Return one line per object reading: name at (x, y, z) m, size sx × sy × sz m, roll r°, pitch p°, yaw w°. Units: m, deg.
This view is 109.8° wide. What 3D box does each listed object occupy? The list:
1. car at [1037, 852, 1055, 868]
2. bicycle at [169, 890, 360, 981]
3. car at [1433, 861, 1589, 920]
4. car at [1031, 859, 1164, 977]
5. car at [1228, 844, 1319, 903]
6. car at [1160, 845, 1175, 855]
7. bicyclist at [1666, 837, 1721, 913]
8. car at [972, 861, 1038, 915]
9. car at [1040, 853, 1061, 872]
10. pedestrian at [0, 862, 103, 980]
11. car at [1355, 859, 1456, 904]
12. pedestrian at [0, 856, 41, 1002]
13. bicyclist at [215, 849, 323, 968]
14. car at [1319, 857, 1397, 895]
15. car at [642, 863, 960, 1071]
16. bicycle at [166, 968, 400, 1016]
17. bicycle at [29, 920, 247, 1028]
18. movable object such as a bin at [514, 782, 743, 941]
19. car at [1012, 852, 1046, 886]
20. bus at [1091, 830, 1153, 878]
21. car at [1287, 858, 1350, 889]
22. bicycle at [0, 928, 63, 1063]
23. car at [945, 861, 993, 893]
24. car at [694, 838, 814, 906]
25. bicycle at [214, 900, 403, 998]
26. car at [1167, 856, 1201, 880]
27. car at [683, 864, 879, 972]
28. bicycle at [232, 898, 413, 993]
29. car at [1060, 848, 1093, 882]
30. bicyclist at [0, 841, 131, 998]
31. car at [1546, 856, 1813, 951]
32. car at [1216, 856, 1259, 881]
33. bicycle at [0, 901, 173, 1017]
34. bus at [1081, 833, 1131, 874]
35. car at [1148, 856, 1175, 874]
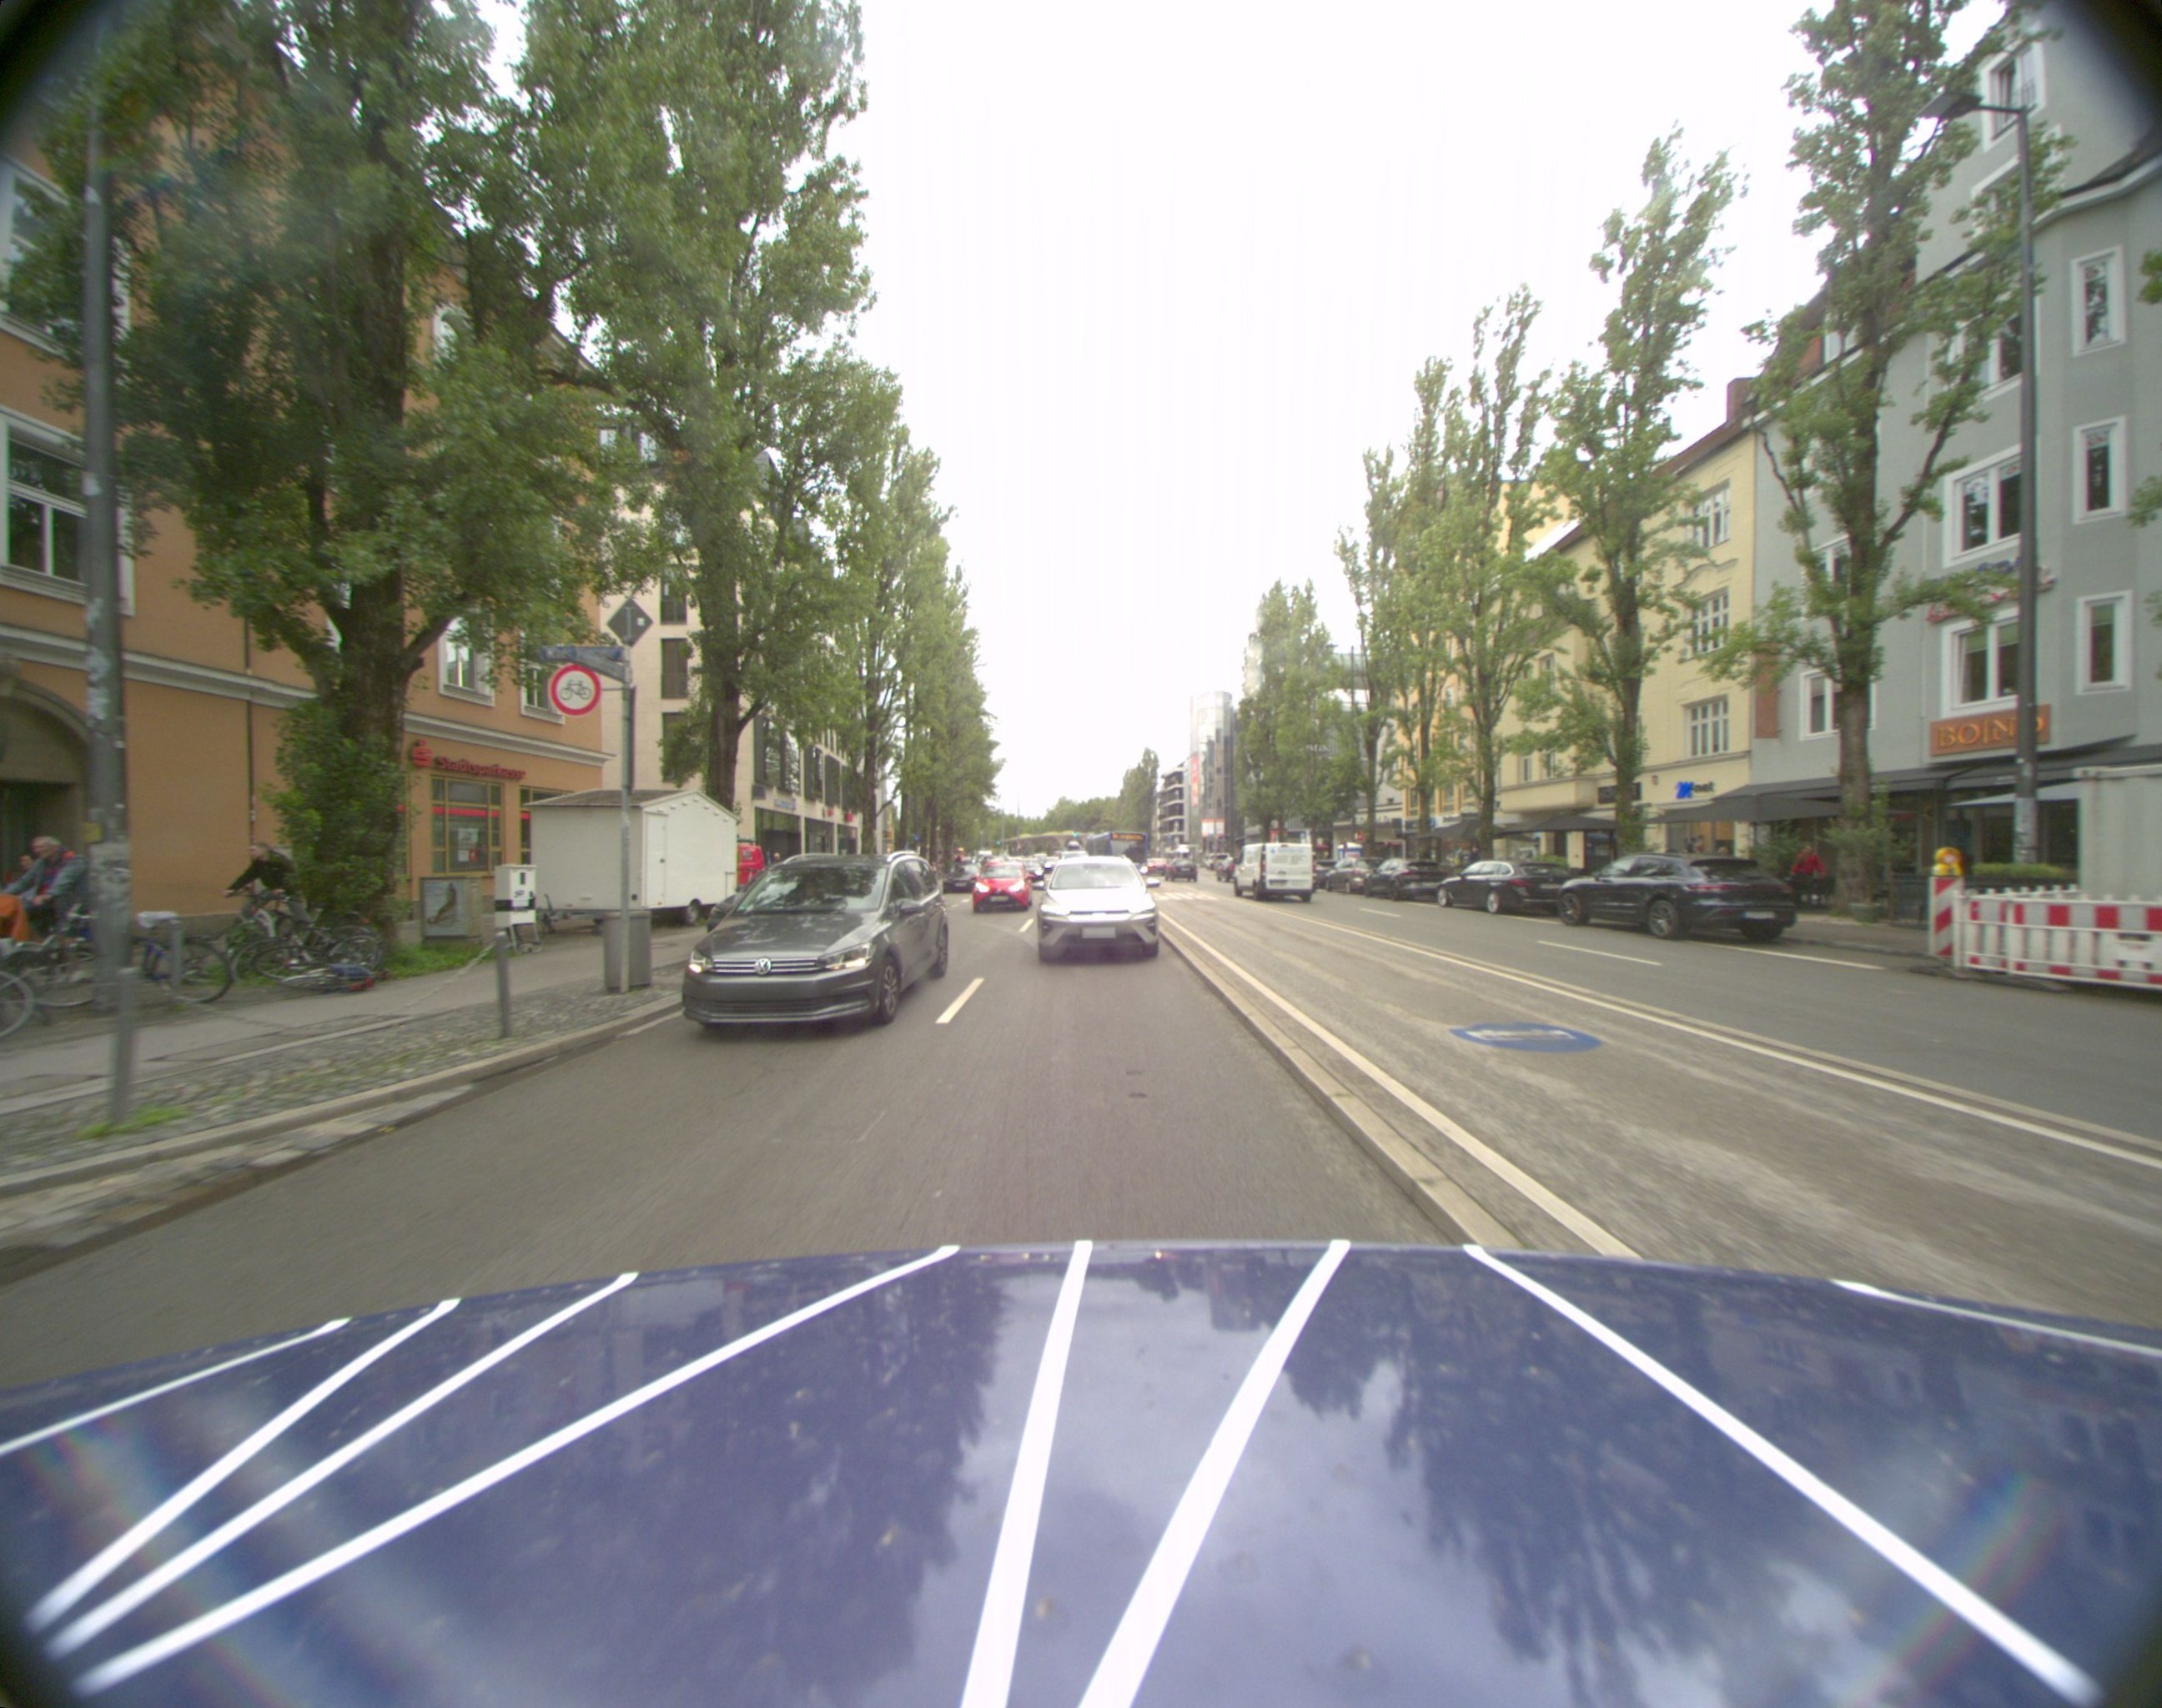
car at (-3.765, 0.645, 81.277) m, size 1.707 × 1.683 × 4.001 m, roll -2°, pitch 0°, yaw -5°
bicycle at (-11.908, 1.137, 11.209) m, size 0.737 × 1.113 × 2.100 m, roll -1°, pitch 0°, yaw -8°
car at (11.755, 0.932, 21.200) m, size 1.802 × 1.432 × 4.574 m, roll 0°, pitch 0°, yaw 1°
car at (0.217, 0.890, 12.361) m, size 1.742 × 1.510 × 4.033 m, roll -2°, pitch 0°, yaw 0°
car at (6.754, 0.636, 27.207) m, size 1.897 × 1.921 × 5.071 m, roll 0°, pitch 0°, yaw -1°
car at (14.193, -0.624, 124.944) m, size 1.863 × 1.606 × 4.363 m, roll 0°, pitch 0°, yaw 0°
bicyclist at (14.015, 0.468, 17.411) m, size 0.606 × 1.695 × 0.816 m, roll -1°, pitch 1°, yaw 1°
car at (-2.266, 0.991, 23.597) m, size 1.616 × 1.425 × 4.003 m, roll -2°, pitch 0°, yaw 0°
car at (-2.796, 0.762, 69.115) m, size 1.707 × 1.683 × 4.001 m, roll -2°, pitch 0°, yaw -5°
pedestrian at (-14.420, 0.911, 10.548) m, size 0.745 × 1.562 × 0.664 m, roll -2°, pitch 1°, yaw 2°
car at (11.703, 0.940, 27.782) m, size 1.802 × 1.432 × 4.574 m, roll 0°, pitch 0°, yaw 1°
pedestrian at (-12.883, 0.882, 8.842) m, size 0.619 × 1.684 × 0.574 m, roll -3°, pitch 1°, yaw -8°
bicyclist at (-11.911, 0.778, 11.177) m, size 0.741 × 1.677 × 0.748 m, roll -1°, pitch 1°, yaw -7°
car at (11.968, 0.903, 33.129) m, size 1.802 × 1.495 × 4.574 m, roll 0°, pitch 0°, yaw 1°
car at (-2.614, 0.951, 8.300) m, size 1.882 × 1.582 × 4.192 m, roll -2°, pitch 0°, yaw 0°
bicycle at (-8.975, 1.549, 8.618) m, size 1.677 × 0.371 × 0.830 m, roll 0°, pitch 0°, yaw -7°
bicycle at (-9.622, 1.211, 7.783) m, size 1.602 × 1.004 × 0.342 m, roll -1°, pitch 1°, yaw -7°
movable object such as a bin at (-9.970, 0.148, 17.316) m, size 2.445 × 3.119 × 4.543 m, roll 1°, pitch 0°, yaw 1°
car at (-2.880, 0.777, 41.678) m, size 1.707 × 1.683 × 4.001 m, roll -2°, pitch 0°, yaw -5°
bus at (2.633, -0.012, 51.904) m, size 2.697 × 2.932 × 10.046 m, roll -1°, pitch 0°, yaw -6°
car at (12.013, 0.938, 38.734) m, size 1.802 × 1.432 × 4.574 m, roll 0°, pitch 0°, yaw 1°
bicycle at (-9.900, 1.204, 6.384) m, size 1.945 × 1.078 × 0.561 m, roll -1°, pitch 1°, yaw 1°
car at (-5.319, 1.050, 36.553) m, size 1.700 × 1.352 × 4.003 m, roll -2°, pitch 0°, yaw 0°
car at (-10.916, 0.551, 25.688) m, size 1.682 × 2.110 × 4.004 m, roll -1°, pitch 0°, yaw 12°
bicycle at (-9.461, 1.138, 9.361) m, size 1.604 × 1.078 × 0.341 m, roll -1°, pitch 1°, yaw -22°
car at (6.450, 0.880, 47.885) m, size 1.616 × 1.432 × 3.596 m, roll 0°, pitch 0°, yaw 0°
car at (-5.224, 1.022, 13.980) m, size 1.789 × 1.544 × 4.498 m, roll -2°, pitch 0°, yaw 0°
bicycle at (-9.619, 1.139, 9.691) m, size 1.610 × 1.078 × 0.321 m, roll -1°, pitch 1°, yaw -22°
car at (-0.253, 0.617, 45.947) m, size 1.839 × 1.831 × 5.129 m, roll -2°, pitch 1°, yaw 0°
bicyclist at (-11.915, 0.730, 8.824) m, size 0.831 × 1.747 × 0.667 m, roll -1°, pitch 1°, yaw -7°
car at (11.637, 0.853, 15.284) m, size 1.802 × 1.603 × 4.574 m, roll 0°, pitch 0°, yaw 1°
car at (9.802, 0.884, 47.864) m, size 1.750 × 1.509 × 4.363 m, roll 0°, pitch 0°, yaw 0°
bicycle at (-11.874, 1.155, 8.567) m, size 0.887 × 1.113 × 2.100 m, roll -1°, pitch 0°, yaw -8°
bus at (1.829, -0.065, 60.218) m, size 2.691 × 2.932 × 10.046 m, roll -1°, pitch 0°, yaw -6°
car at (6.643, 0.885, 63.384) m, size 1.781 × 1.391 × 4.363 m, roll 0°, pitch 0°, yaw 0°
